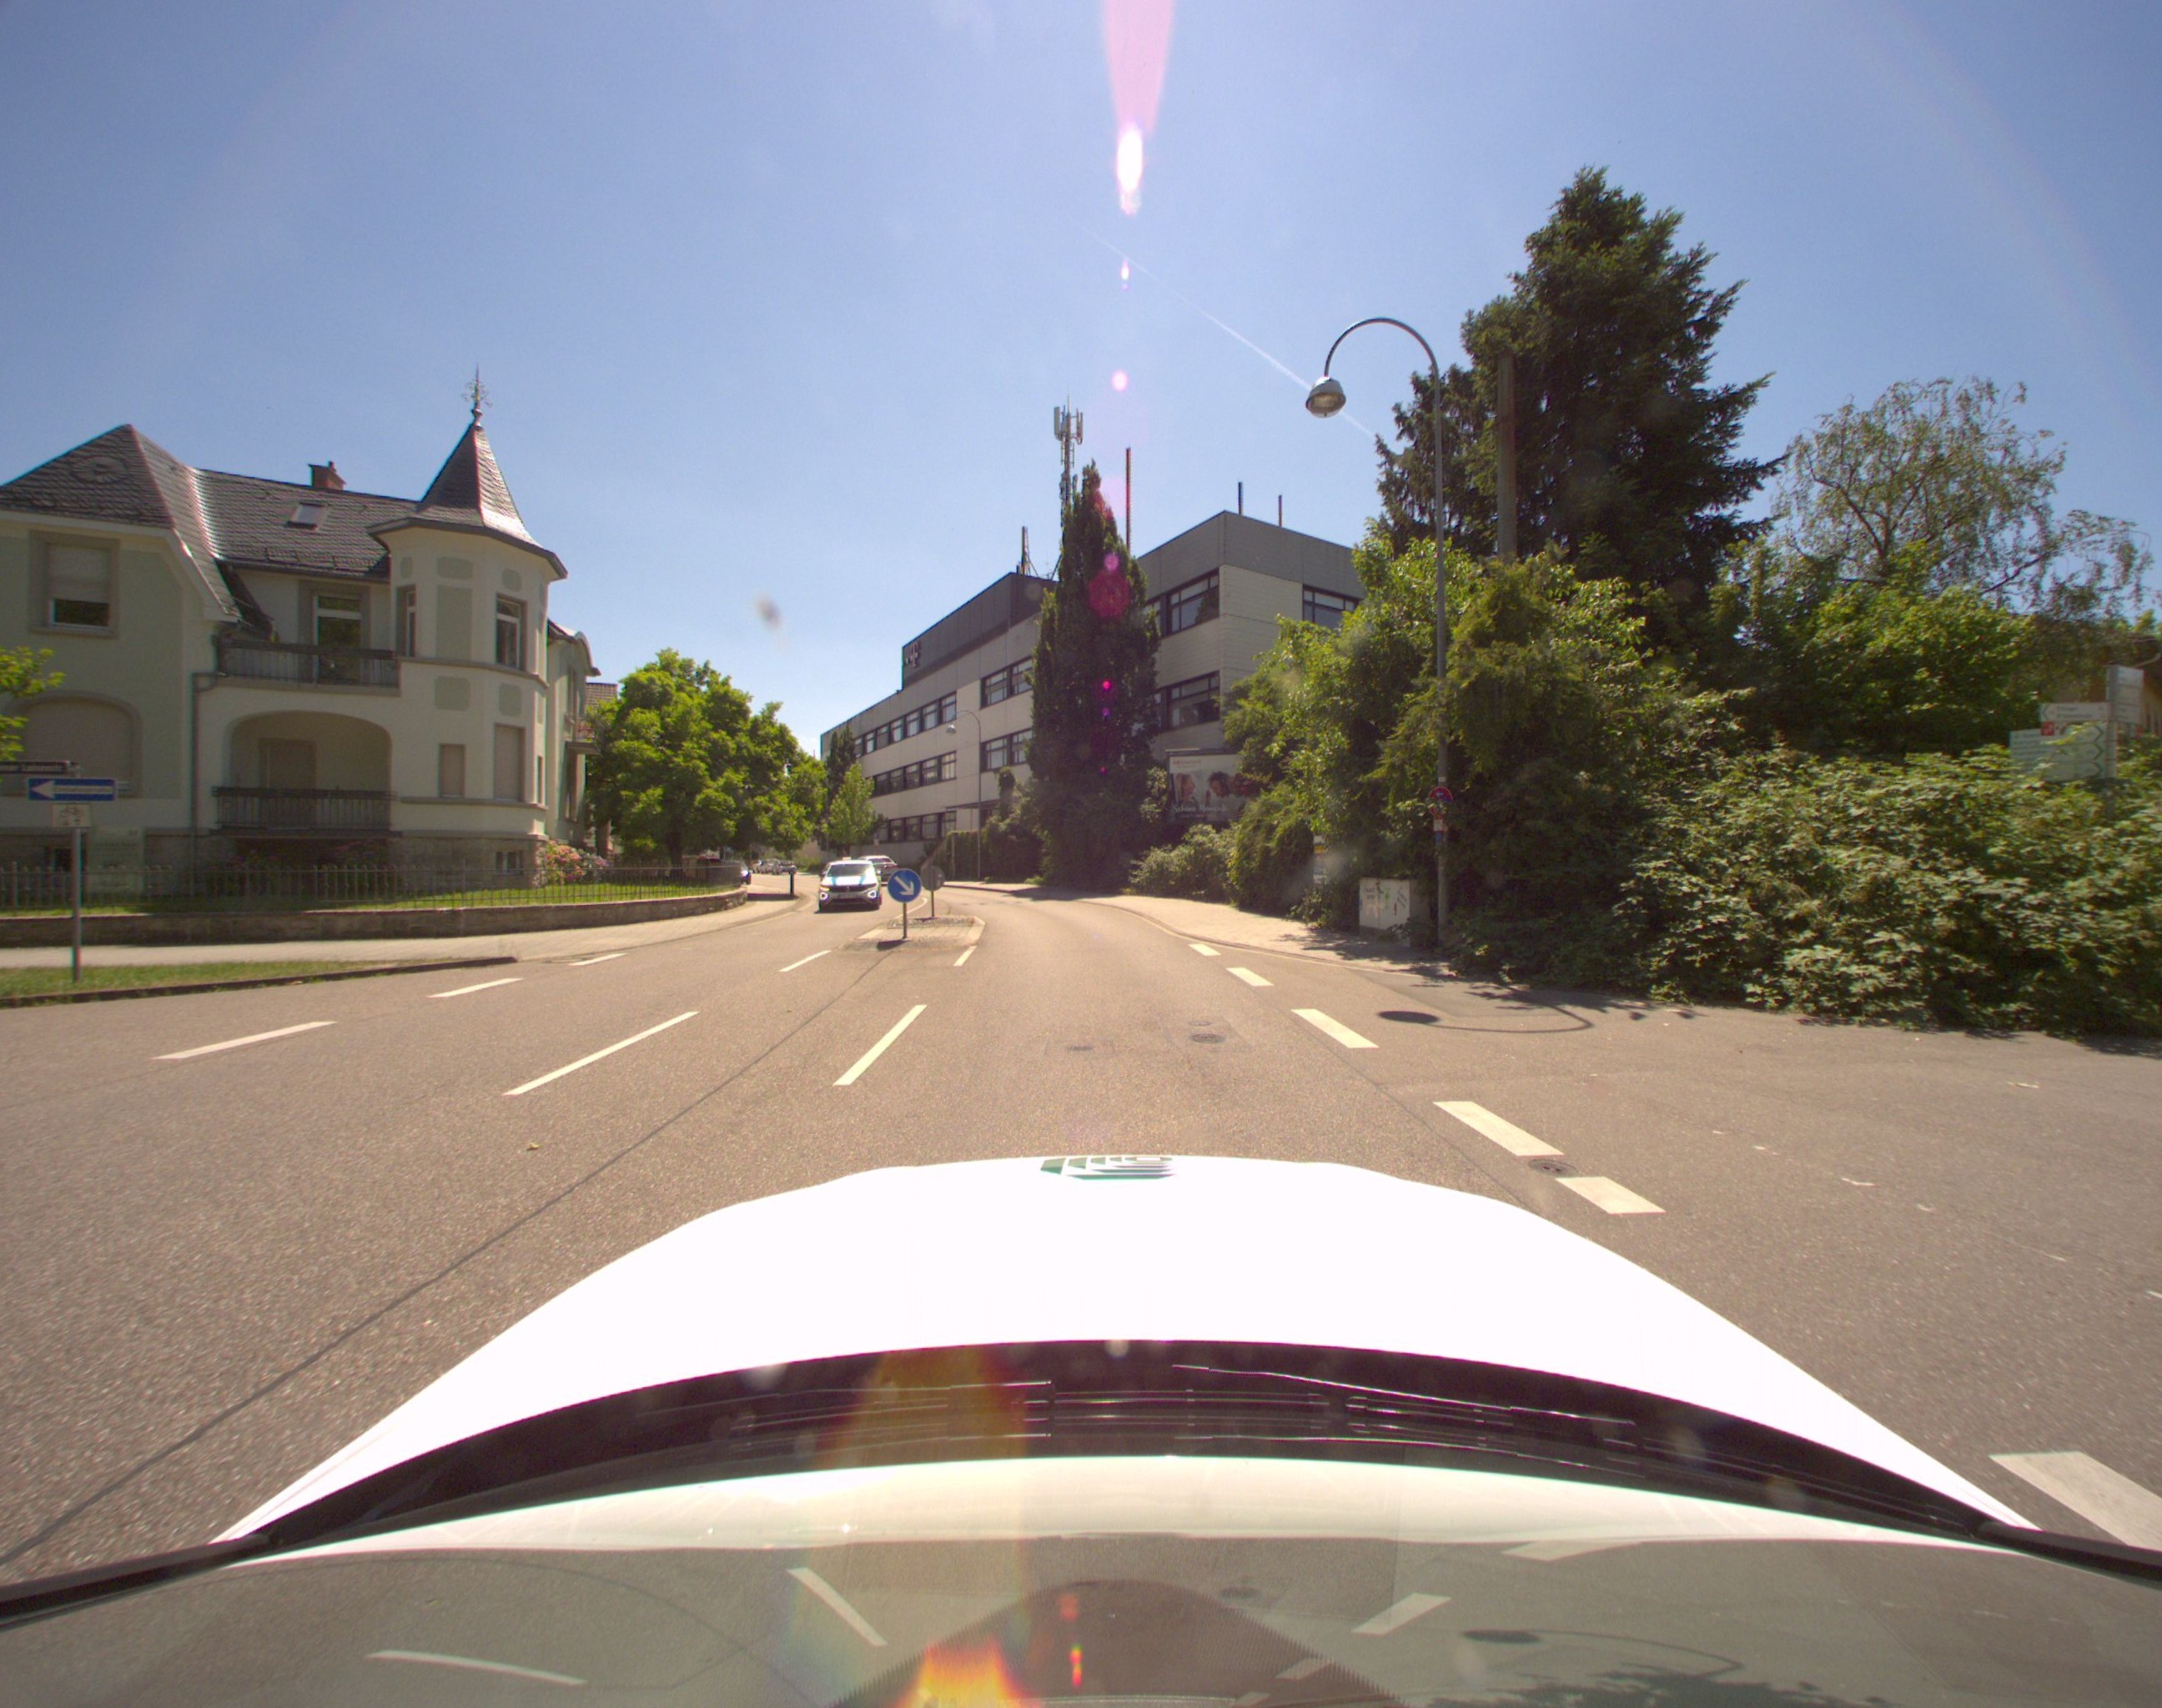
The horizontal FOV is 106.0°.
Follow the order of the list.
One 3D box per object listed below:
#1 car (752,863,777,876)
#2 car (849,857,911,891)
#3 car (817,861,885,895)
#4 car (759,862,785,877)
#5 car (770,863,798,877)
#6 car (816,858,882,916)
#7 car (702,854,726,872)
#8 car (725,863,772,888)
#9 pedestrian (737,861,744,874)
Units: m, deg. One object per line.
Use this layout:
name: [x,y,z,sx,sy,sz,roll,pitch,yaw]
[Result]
car: [-34.483,1.681,88.661,1.738,1.383,4.357,-2,0,-32]
car: [-11.296,1.092,45.571,1.949,1.613,4.427,-8,3,-31]
car: [-10.718,1.089,37.730,1.771,1.435,4.258,-2,0,-34]
car: [-32.146,1.591,84.572,1.670,1.488,4.301,-2,0,-32]
car: [-29.078,1.539,79.760,1.874,1.373,3.960,0,-1,-31]
car: [-7.407,0.990,26.330,1.875,1.623,4.284,0,1,-14]
car: [-47.803,1.170,106.075,2.084,2.197,5.085,-2,1,-33]
car: [-20.734,1.325,50.703,1.938,1.437,4.613,3,-2,-31]
pedestrian: [-44.995,1.742,107.598,0.642,1.758,0.610,0,-1,-36]
